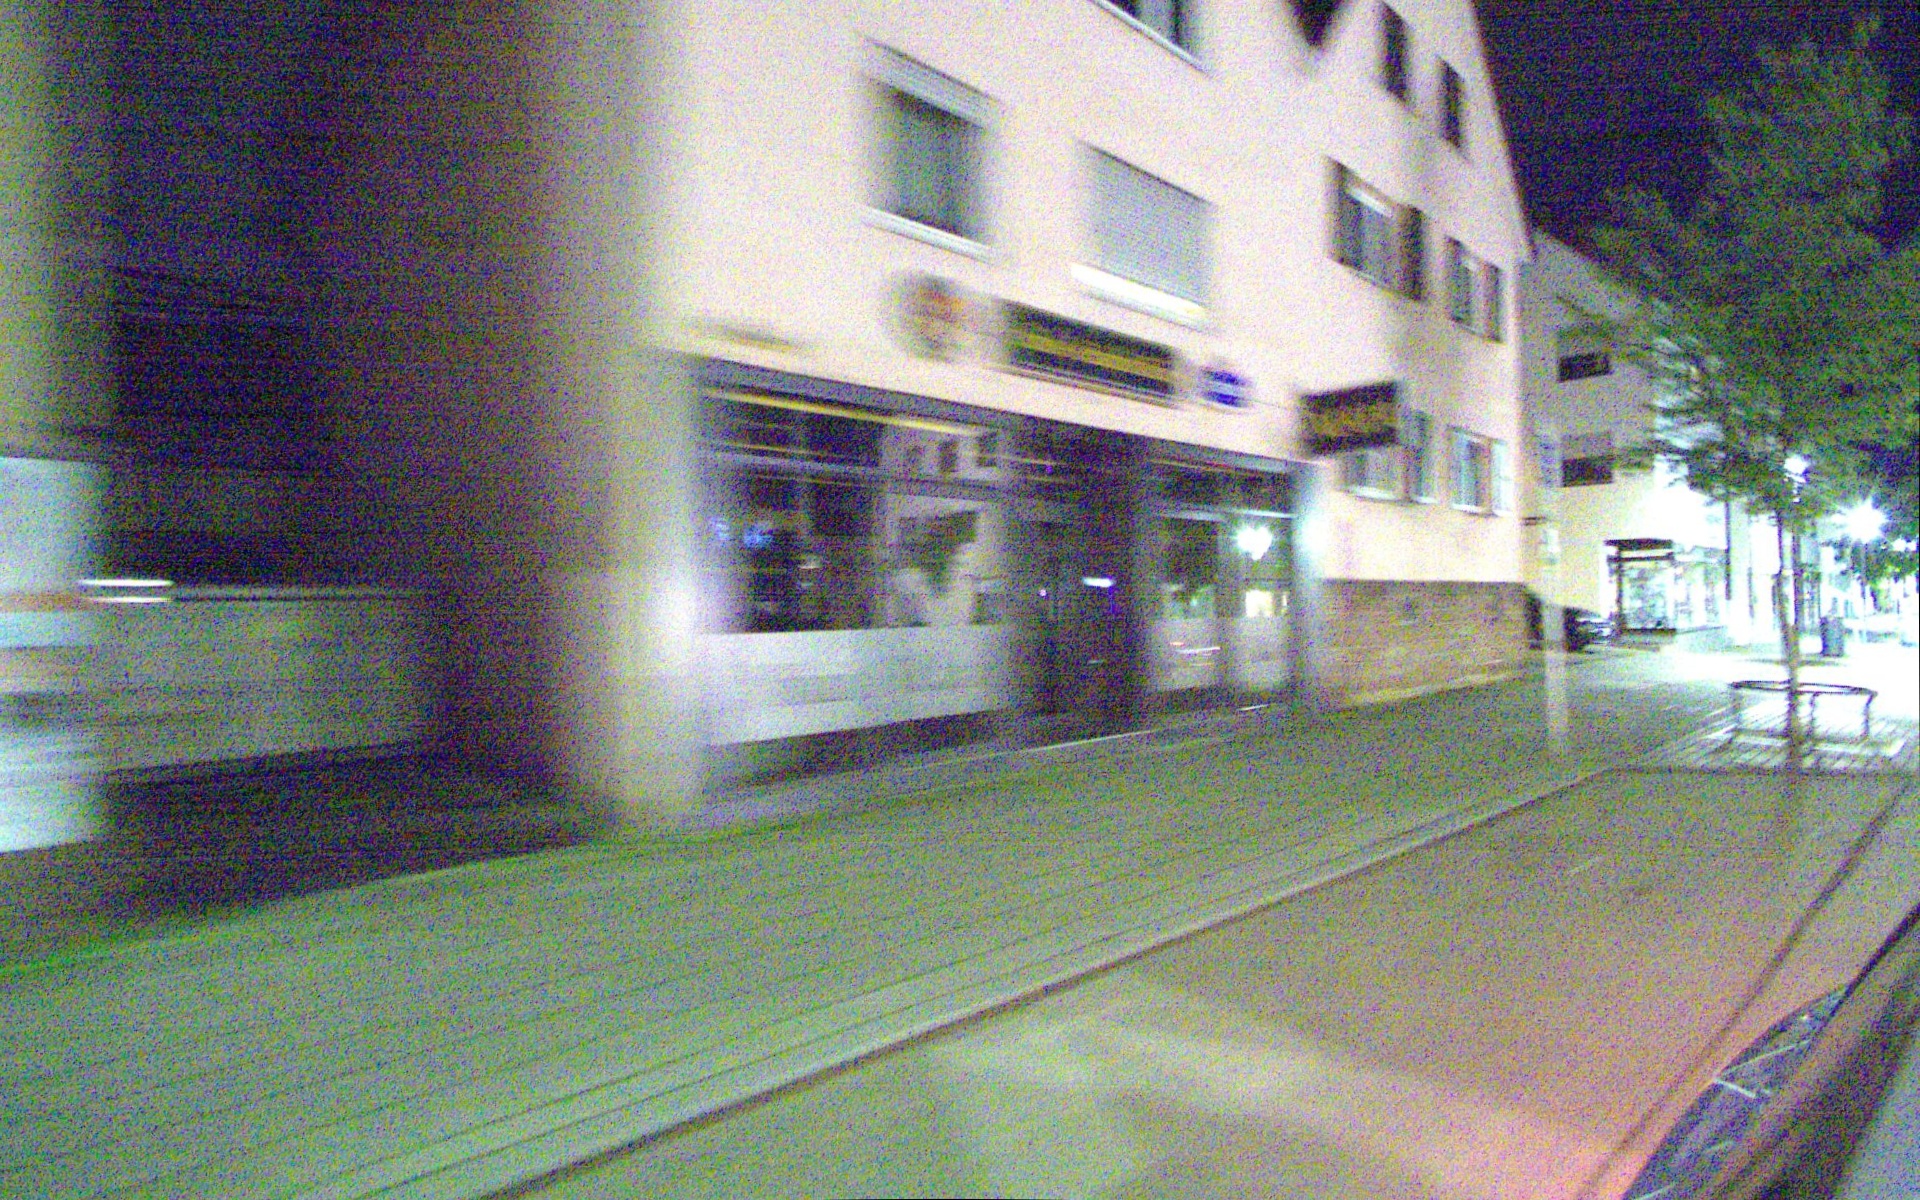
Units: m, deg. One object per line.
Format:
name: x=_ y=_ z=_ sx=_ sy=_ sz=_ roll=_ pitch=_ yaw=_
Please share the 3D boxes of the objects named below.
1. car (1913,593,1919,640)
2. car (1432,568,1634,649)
car: x=32.313 y=0.525 z=33.029 sx=3.638 sy=1.502 sz=1.603 roll=0 pitch=1 yaw=-44
car: x=13.843 y=0.150 z=24.611 sx=1.618 sy=1.606 sz=3.910 roll=1 pitch=4 yaw=-44
